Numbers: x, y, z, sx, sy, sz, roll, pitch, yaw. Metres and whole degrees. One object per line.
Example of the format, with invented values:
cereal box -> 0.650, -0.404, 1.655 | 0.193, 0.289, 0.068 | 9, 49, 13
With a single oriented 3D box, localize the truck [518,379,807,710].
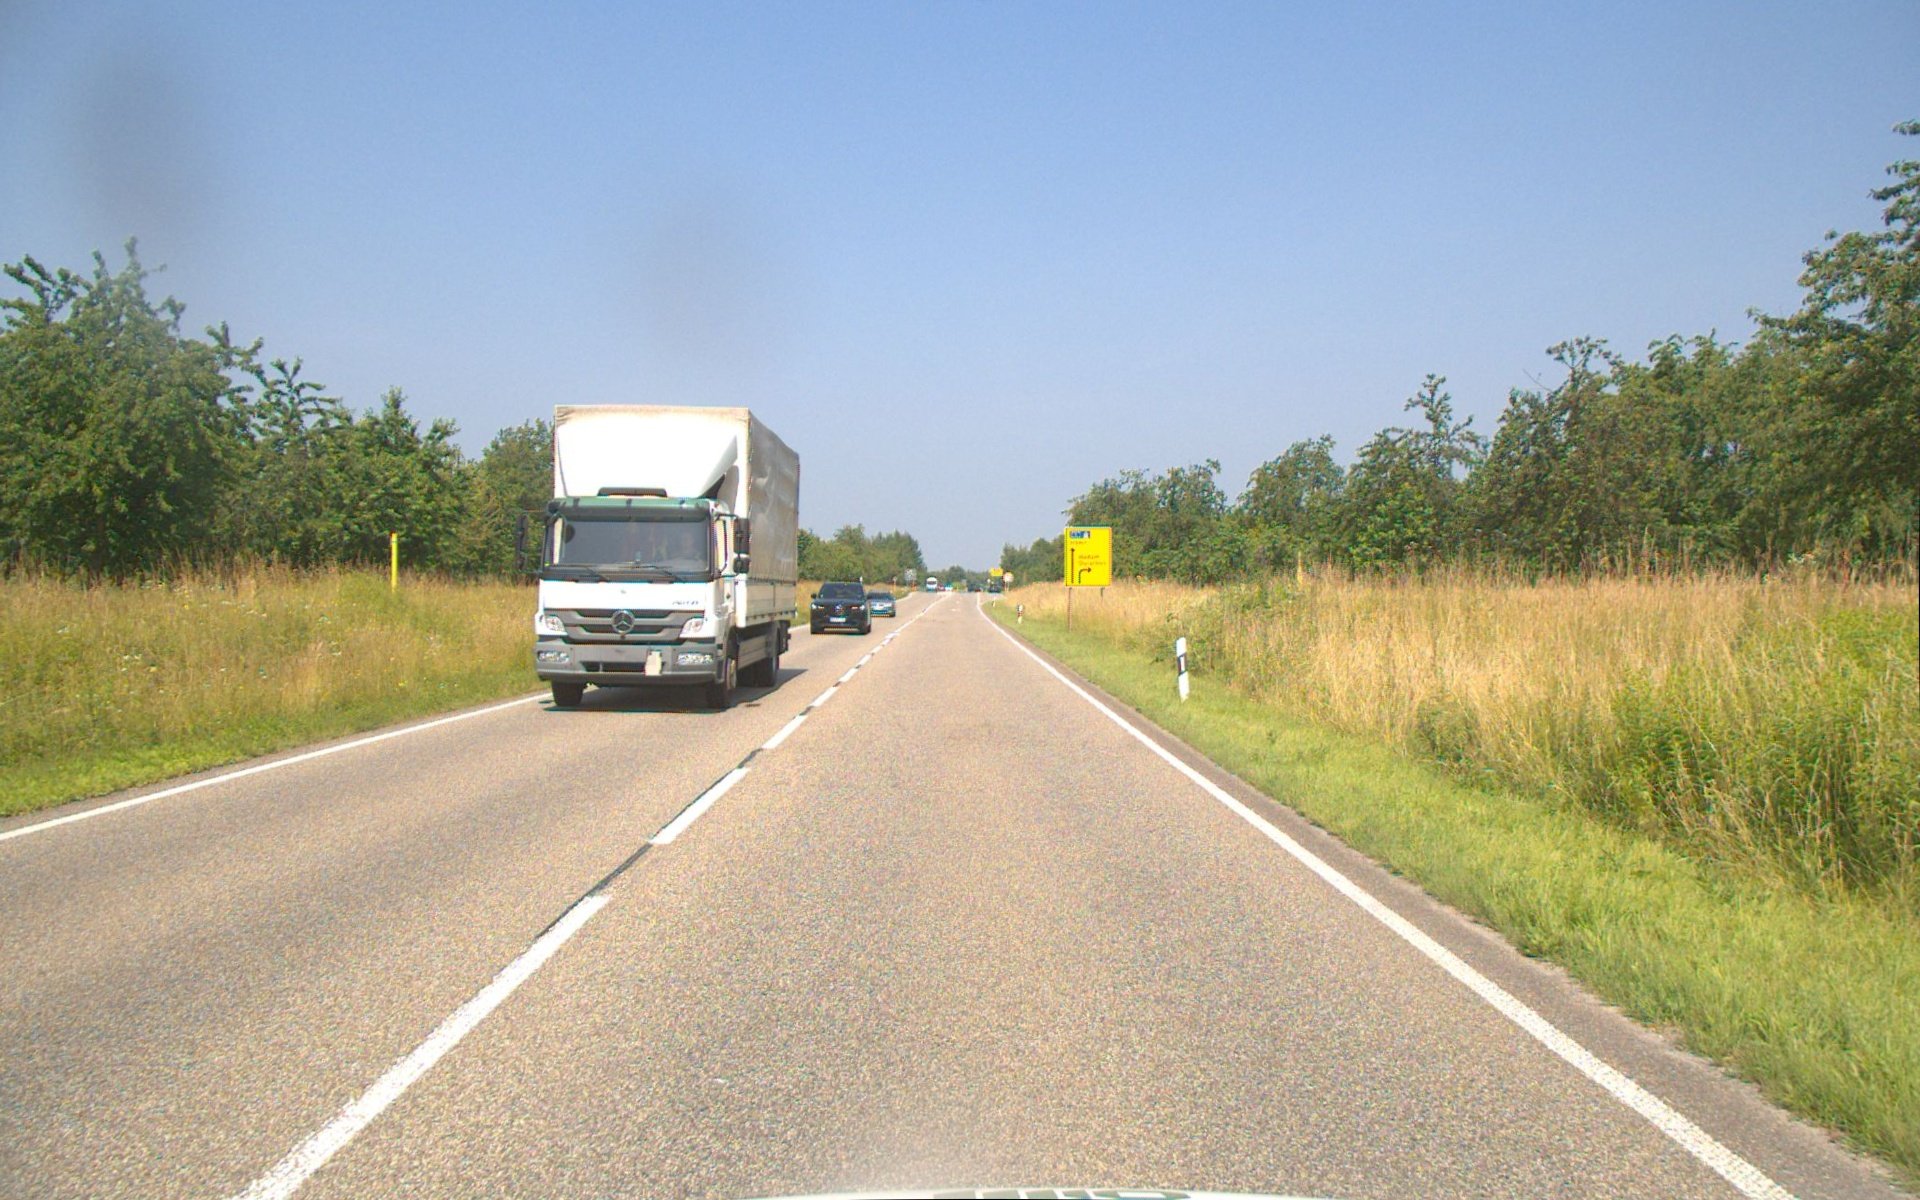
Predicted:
truck -> -4.005, -0.687, 24.741 | 2.610, 3.906, 10.206 | 0, 0, -1

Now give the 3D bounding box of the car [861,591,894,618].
car -> -4.490, 0.211, 90.622 | 1.656, 1.433, 4.893 | 0, 0, -1

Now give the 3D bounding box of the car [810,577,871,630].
car -> -4.004, 0.099, 55.915 | 1.799, 1.707, 4.410 | 0, 0, -1
